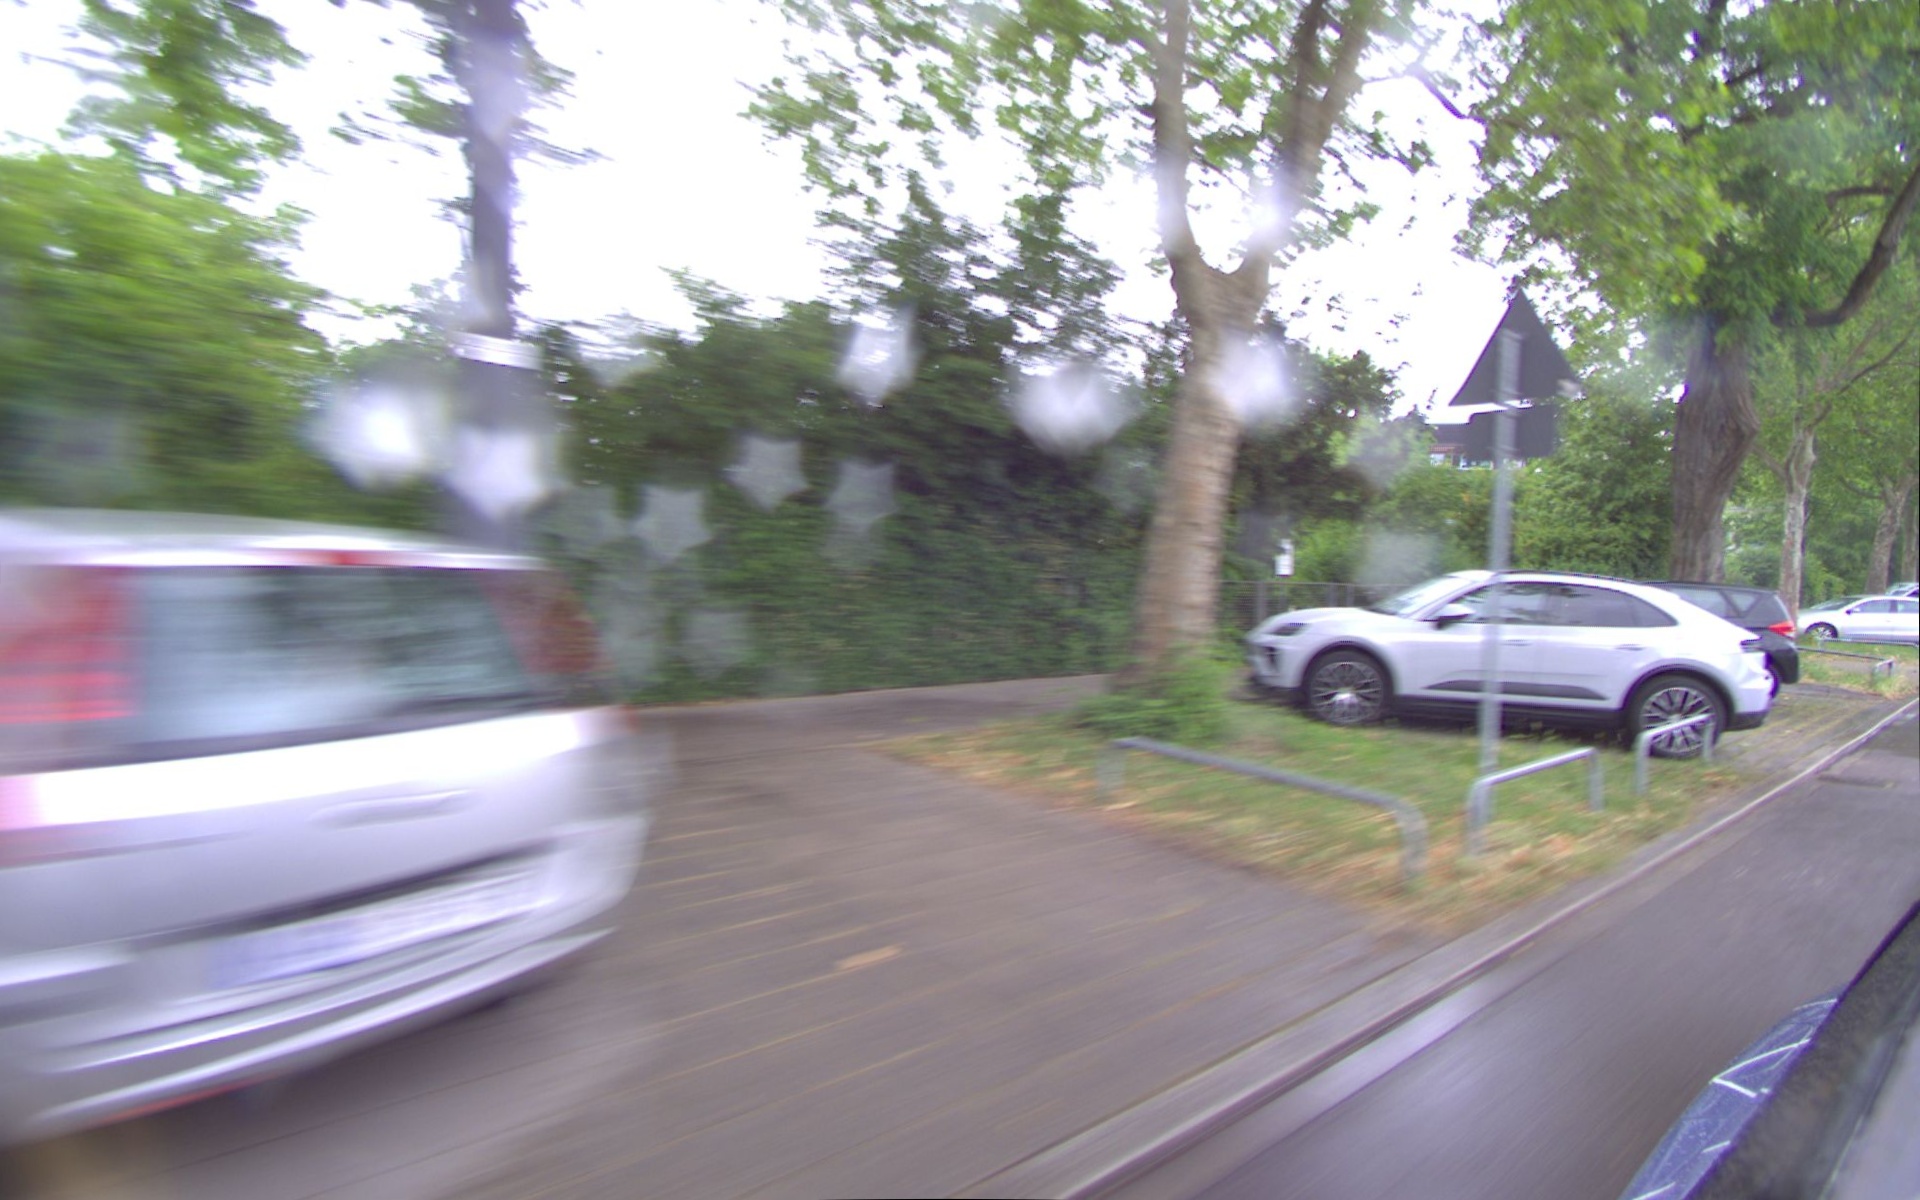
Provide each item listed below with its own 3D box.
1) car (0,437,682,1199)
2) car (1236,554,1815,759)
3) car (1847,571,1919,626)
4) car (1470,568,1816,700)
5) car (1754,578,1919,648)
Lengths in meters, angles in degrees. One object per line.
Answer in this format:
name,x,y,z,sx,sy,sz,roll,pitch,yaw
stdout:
car,-2.870,0.396,3.299,3.839,1.585,1.601,4,3,32
car,5.329,0.438,10.326,4.704,1.689,1.987,2,2,13
car,37.982,0.039,39.211,4.957,2.038,1.991,3,2,15
car,9.460,0.397,14.352,3.664,1.585,1.611,2,2,17
car,24.099,0.362,26.658,4.501,1.563,1.877,5,2,18
